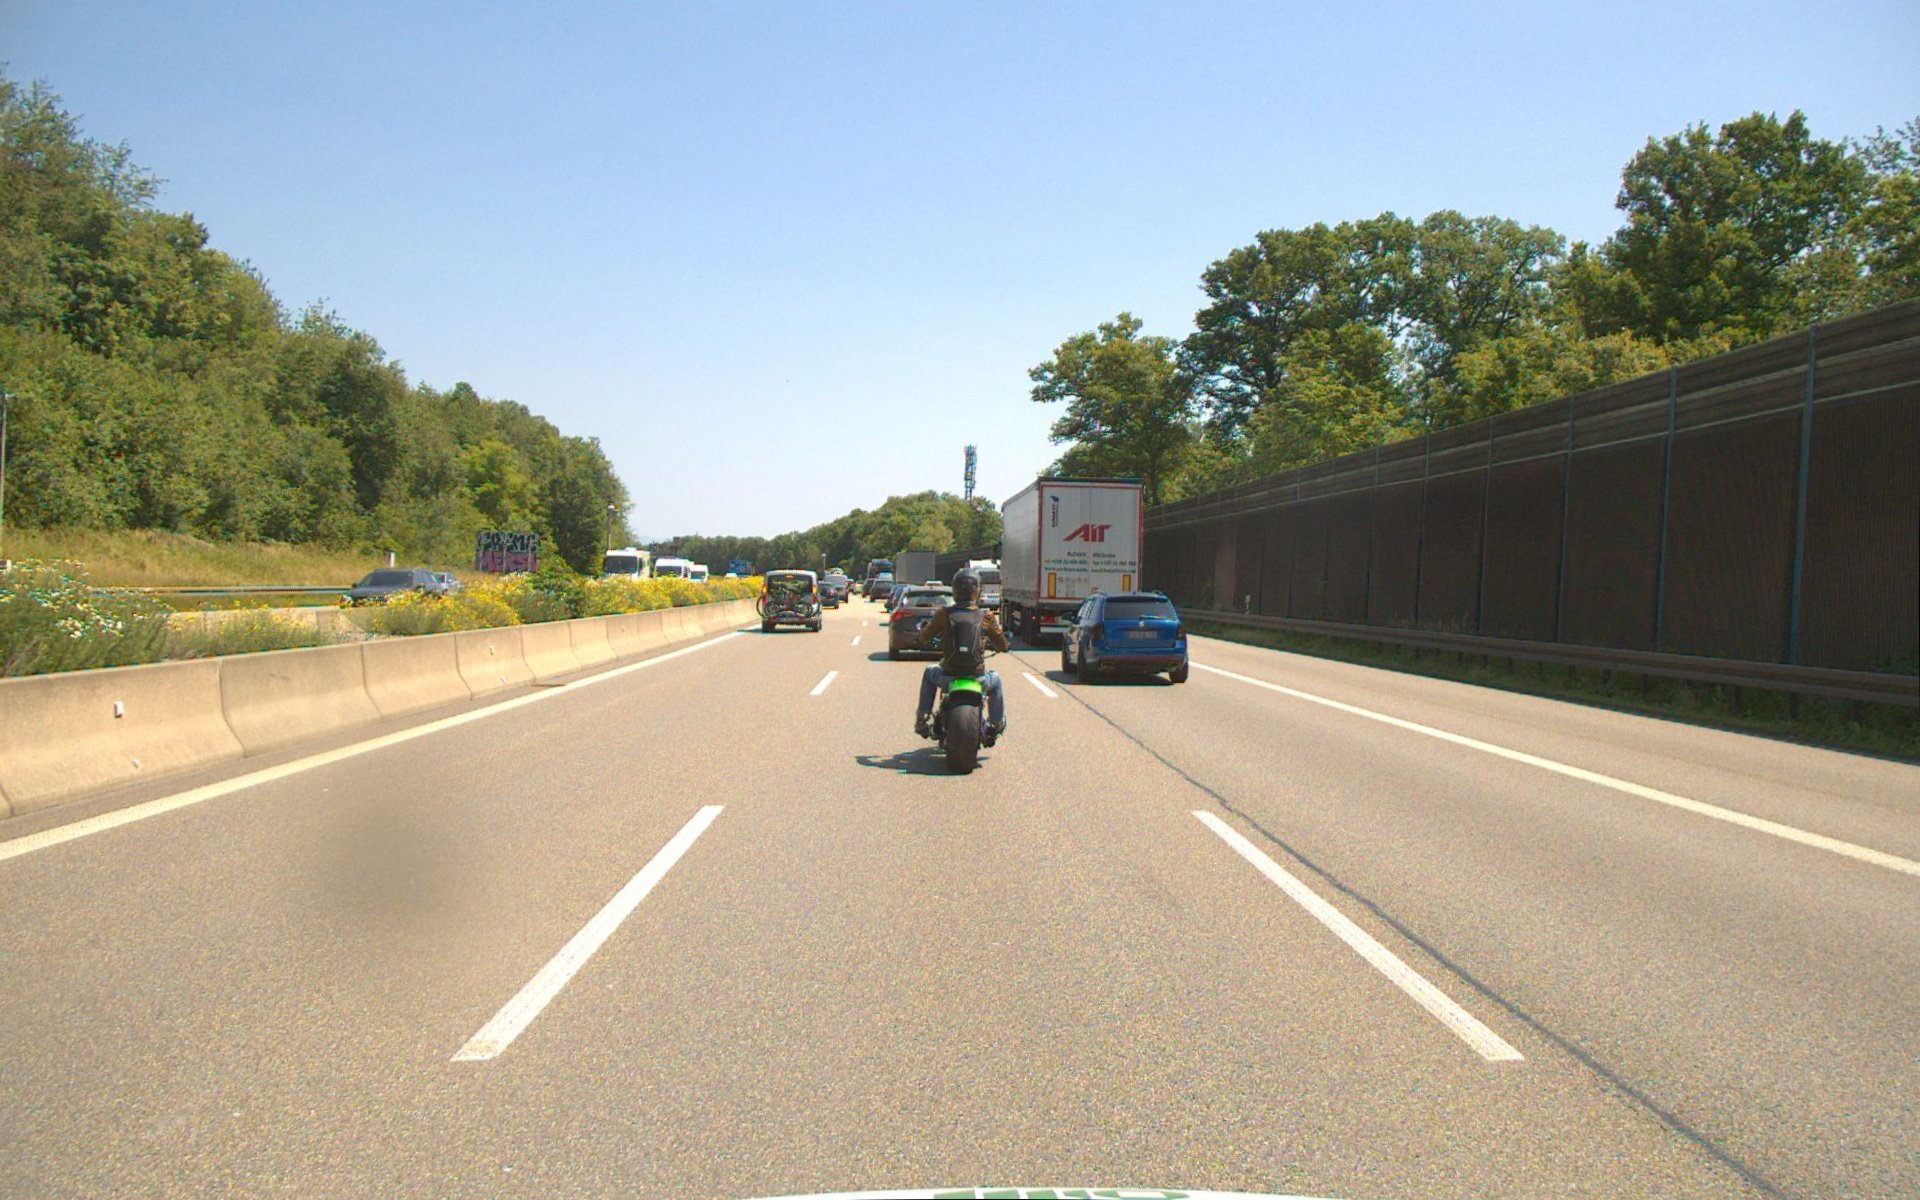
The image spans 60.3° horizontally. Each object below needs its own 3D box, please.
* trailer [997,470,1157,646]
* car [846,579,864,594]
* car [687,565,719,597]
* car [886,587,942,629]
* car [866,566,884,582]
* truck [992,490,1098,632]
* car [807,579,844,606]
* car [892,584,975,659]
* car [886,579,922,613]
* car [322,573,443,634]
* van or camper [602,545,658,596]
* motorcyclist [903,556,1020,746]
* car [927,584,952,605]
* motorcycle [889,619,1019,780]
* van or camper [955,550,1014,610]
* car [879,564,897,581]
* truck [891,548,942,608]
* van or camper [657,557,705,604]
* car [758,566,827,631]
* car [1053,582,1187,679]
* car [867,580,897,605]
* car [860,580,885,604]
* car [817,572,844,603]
[{"bbox_3d":[2.912,-1.048,45.873,2.828,4.109,13.788,0,1,-3],"label":"trailer"},{"bbox_3d":[-10.969,-1.395,172.356,1.796,1.522,3.740,0,-1,-4],"label":"car"},{"bbox_3d":[-23.075,-1.709,148.645,2.156,2.789,5.744,0,1,-3],"label":"car"},{"bbox_3d":[-1.663,0.297,59.918,1.953,1.455,3.845,0,-1,-2],"label":"car"},{"bbox_3d":[-10.400,-3.178,201.567,2.066,1.909,3.997,0,-1,-4],"label":"car"},{"bbox_3d":[2.598,-1.193,52.525,2.828,4.218,5.983,0,0,-2],"label":"truck"},{"bbox_3d":[-7.298,-0.370,90.110,1.954,1.411,3.997,0,-1,-4],"label":"car"},{"bbox_3d":[-0.601,0.452,34.800,1.629,1.478,3.867,0,-1,-2],"label":"car"},{"bbox_3d":[-2.753,-0.208,81.817,1.743,1.579,3.584,1,0,-1],"label":"car"},{"bbox_3d":[-16.155,0.074,46.468,1.953,1.614,4.272,0,0,-1],"label":"car"},{"bbox_3d":[-23.189,-2.020,116.773,2.489,3.375,8.997,0,-1,-2],"label":"van or camper"},{"bbox_3d":[0.044,0.408,14.069,0.881,1.501,1.873,0,-1,3],"label":"motorcyclist"},{"bbox_3d":[-1.603,-0.395,128.346,1.953,1.601,3.999,0,-1,-1],"label":"car"},{"bbox_3d":[0.006,0.786,14.241,0.944,1.168,2.813,1,1,3],"label":"motorcycle"},{"bbox_3d":[1.165,-0.959,83.263,2.631,2.862,6.800,0,-1,-2],"label":"van or camper"},{"bbox_3d":[-8.505,-3.214,195.993,2.066,1.909,3.997,0,-1,-4],"label":"car"},{"bbox_3d":[-3.897,-1.871,145.172,3.729,5.046,8.939,0,-1,-6],"label":"truck"},{"bbox_3d":[-18.362,-1.291,109.209,2.212,2.950,6.554,0,1,-2],"label":"van or camper"},{"bbox_3d":[-5.086,-0.028,50.622,1.861,1.906,4.410,0,-1,-3],"label":"car"},{"bbox_3d":[2.634,0.492,28.188,1.618,1.508,4.478,0,-1,-3],"label":"car"},{"bbox_3d":[-5.548,-0.529,117.187,1.954,1.669,3.996,0,-1,-5],"label":"car"},{"bbox_3d":[-7.682,-0.672,145.614,1.875,2.049,3.684,1,-1,-8],"label":"car"},{"bbox_3d":[-8.843,-0.848,113.351,1.755,2.049,3.640,0,-1,-3],"label":"car"}]
